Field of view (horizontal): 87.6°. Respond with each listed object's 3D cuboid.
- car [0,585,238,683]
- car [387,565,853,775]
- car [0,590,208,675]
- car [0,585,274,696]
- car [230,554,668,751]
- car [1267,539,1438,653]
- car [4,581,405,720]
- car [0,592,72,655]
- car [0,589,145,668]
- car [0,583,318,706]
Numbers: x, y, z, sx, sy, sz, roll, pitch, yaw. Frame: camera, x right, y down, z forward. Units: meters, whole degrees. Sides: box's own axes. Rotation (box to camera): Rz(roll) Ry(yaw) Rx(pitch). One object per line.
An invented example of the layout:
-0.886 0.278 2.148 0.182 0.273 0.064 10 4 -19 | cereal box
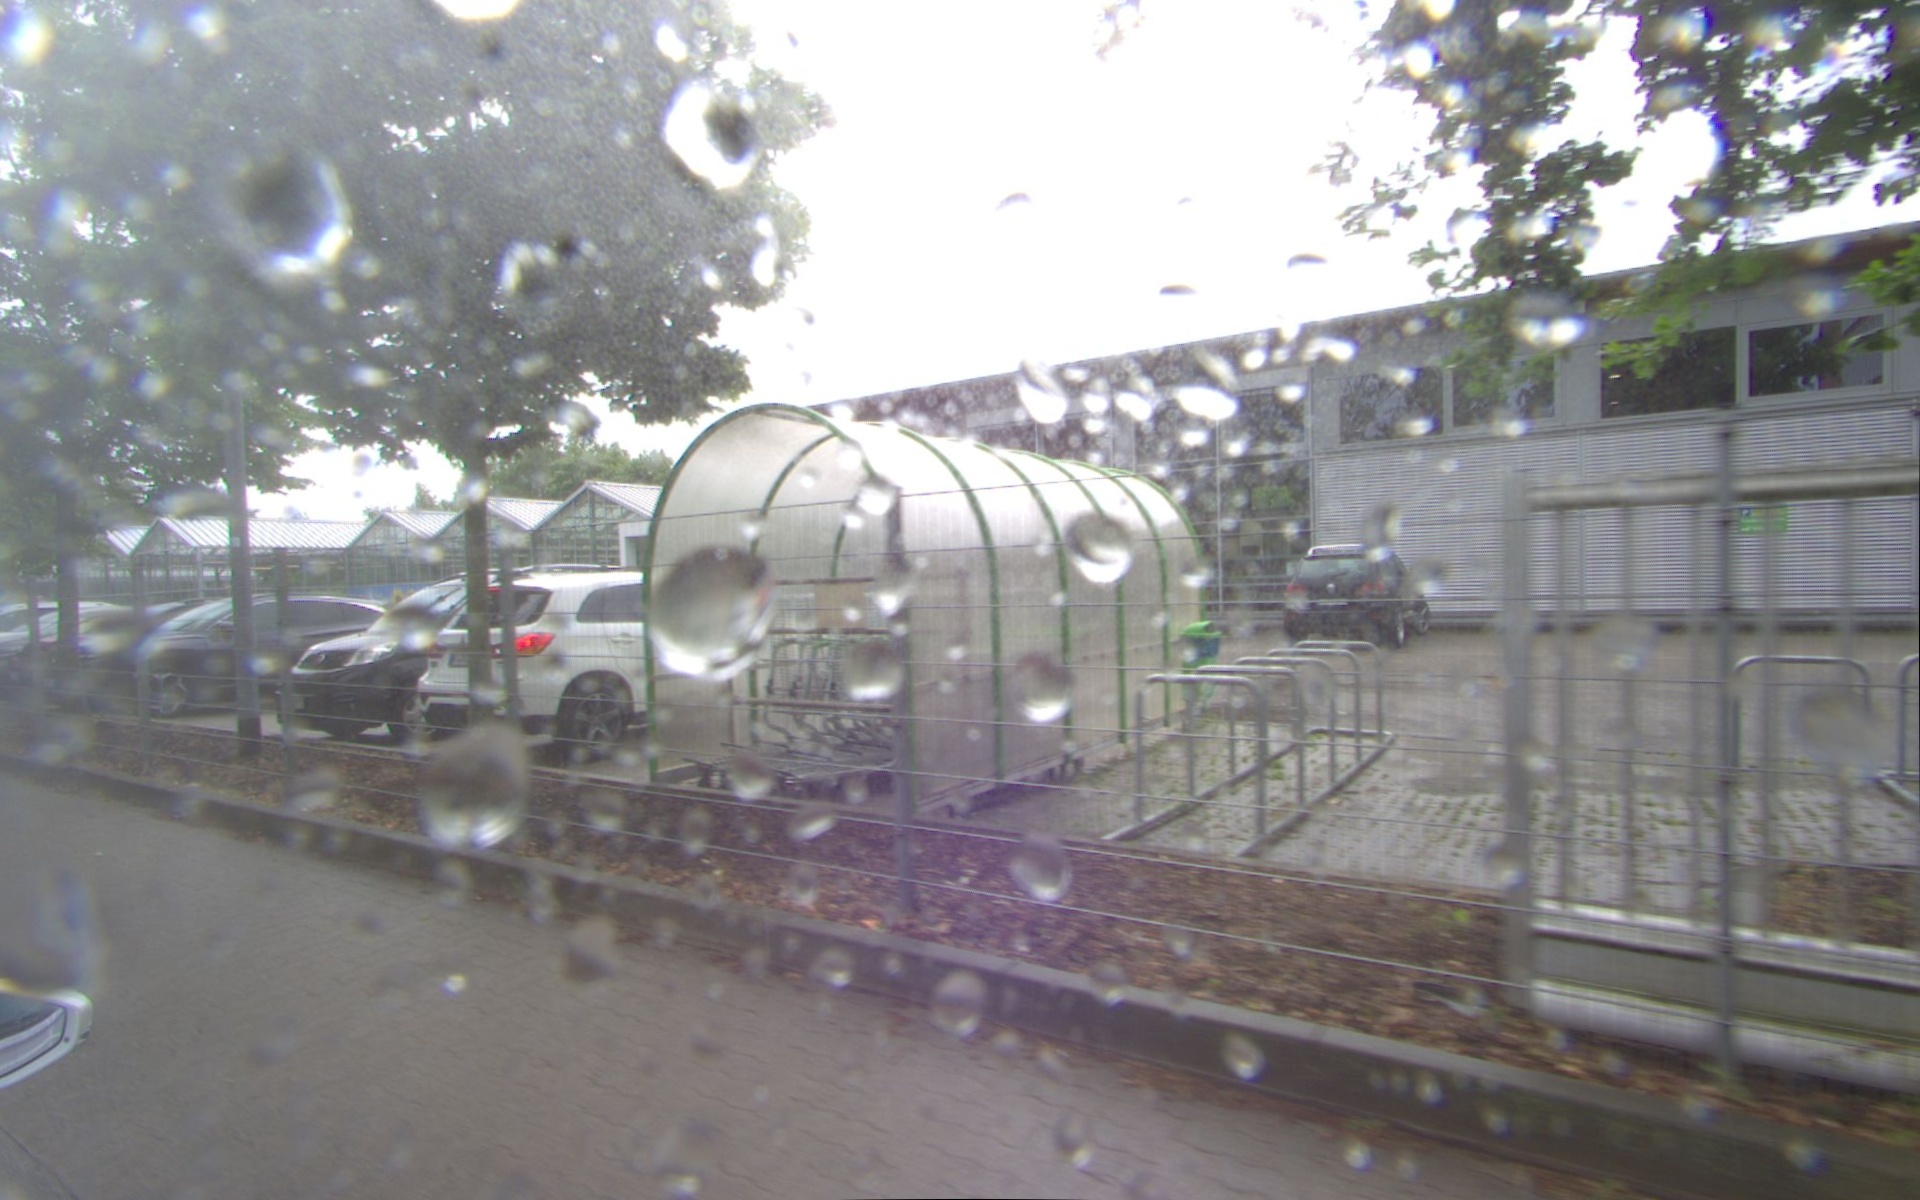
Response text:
-16.632 0.578 19.156 1.795 1.640 4.205 -1 1 26 | car
-3.096 0.496 10.017 1.798 1.623 4.197 0 2 32 | car
-18.486 0.629 20.780 1.795 1.555 4.205 -1 1 26 | car
-14.586 0.601 17.248 1.795 1.640 4.205 -1 1 26 | car
-5.530 0.439 11.491 1.795 1.818 4.205 0 1 26 | car
7.441 -0.138 18.735 2.035 1.858 4.347 0 2 35 | car
-10.550 0.586 14.386 1.795 1.640 4.205 -1 1 26 | car
-26.032 0.649 25.915 1.797 1.610 4.200 0 1 30 | car
-20.842 0.621 21.962 1.795 1.610 4.205 -1 1 26 | car
-12.919 0.587 15.938 1.795 1.640 4.205 -1 1 26 | car
